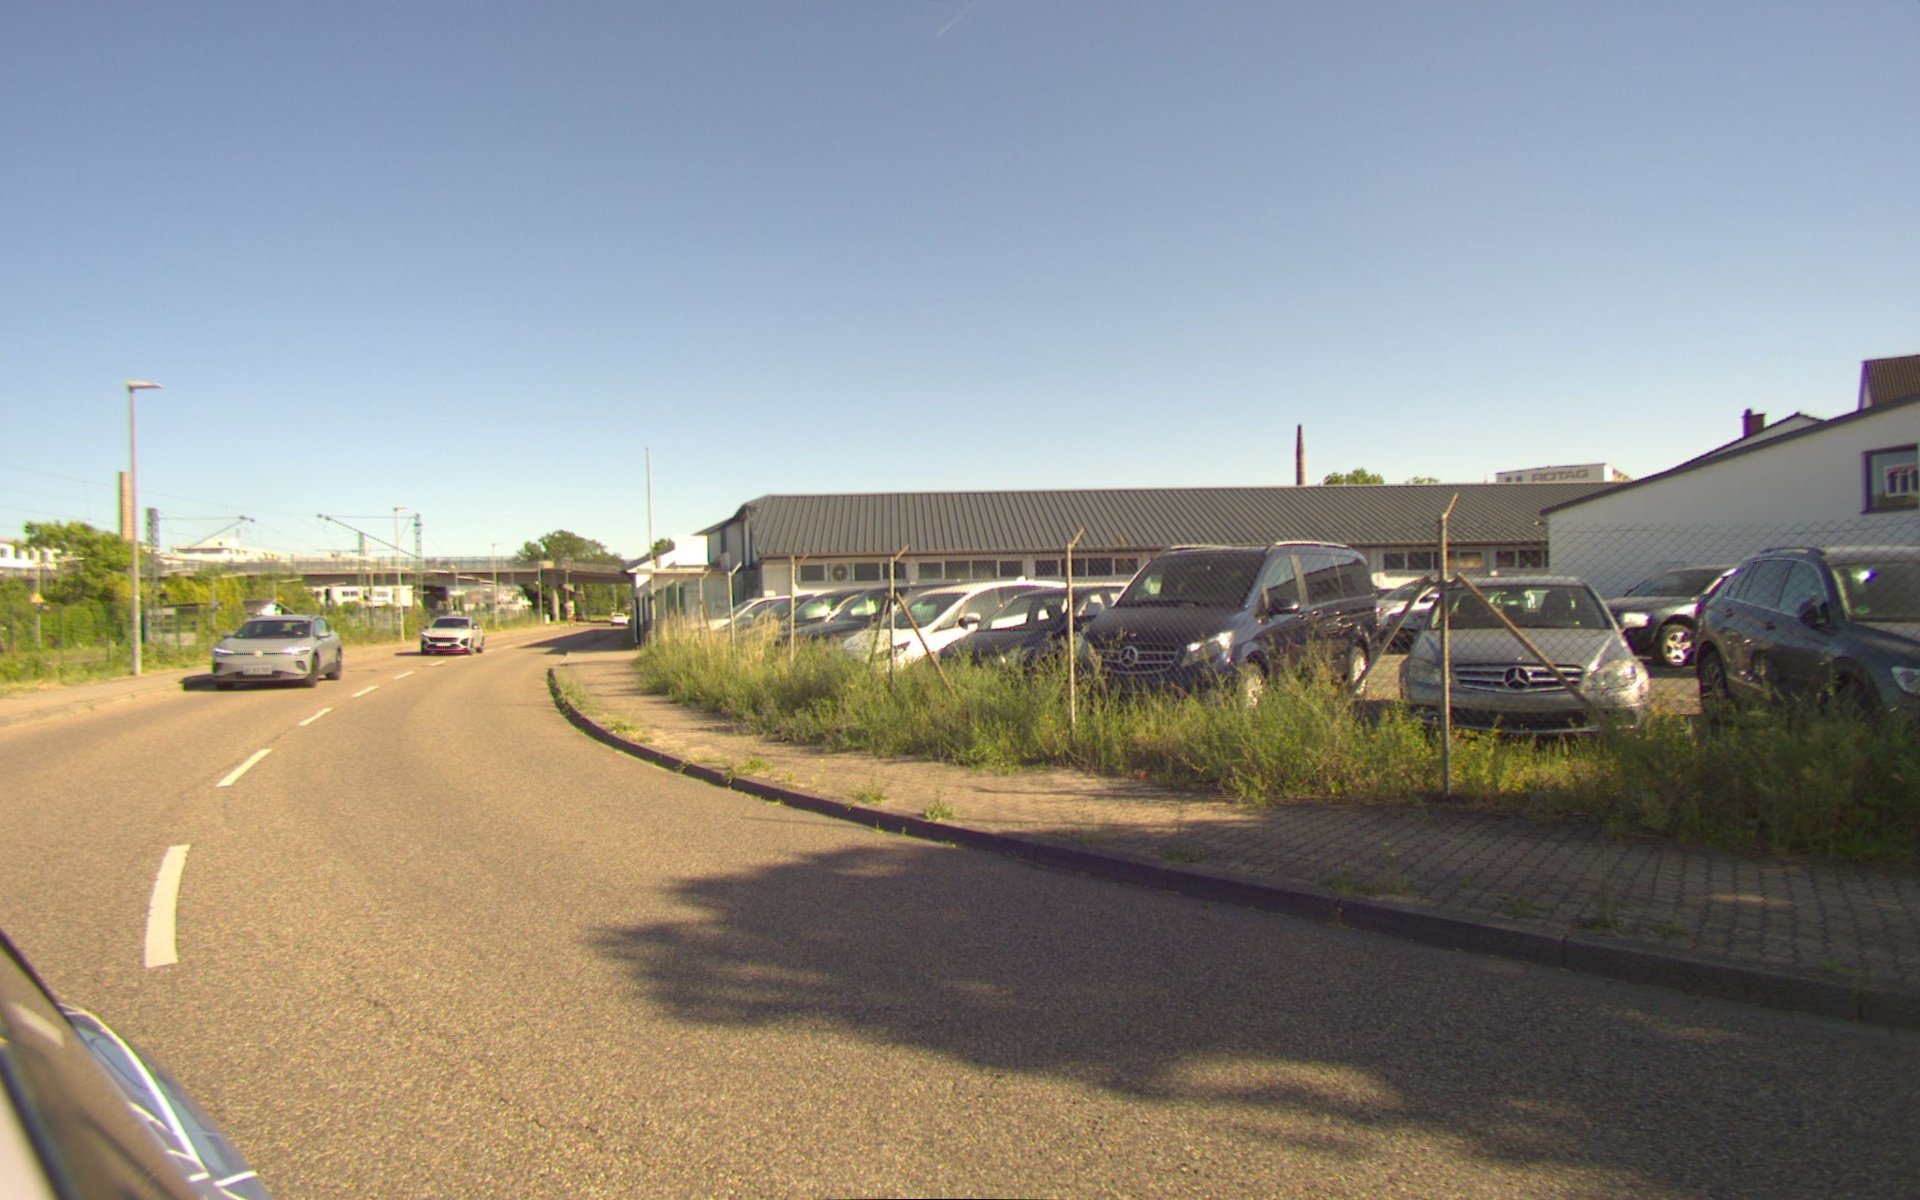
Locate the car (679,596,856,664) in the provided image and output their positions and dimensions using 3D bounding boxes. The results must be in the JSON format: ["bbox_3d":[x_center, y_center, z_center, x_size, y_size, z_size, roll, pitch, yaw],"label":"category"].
[{"bbox_3d":[-5.193,0.777,27.470,4.329,1.661,1.846,-1,-1,-32],"label":"car"}]

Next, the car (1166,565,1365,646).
[{"bbox_3d":[9.858,0.187,32.976,5.680,2.289,2.111,-3,0,-1],"label":"car"}]

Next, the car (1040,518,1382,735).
[{"bbox_3d":[3.031,0.234,11.364,1.838,1.907,4.788,-2,-1,39],"label":"car"}]

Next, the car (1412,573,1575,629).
[{"bbox_3d":[17.504,0.036,33.324,4.339,1.661,1.841,-1,-1,-2],"label":"car"}]

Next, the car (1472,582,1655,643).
[{"bbox_3d":[18.000,0.371,30.320,4.339,1.661,1.841,-1,-1,-2],"label":"car"}]

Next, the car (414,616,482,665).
[{"bbox_3d":[-20.709,1.584,41.090,1.851,1.838,4.308,0,-1,-19],"label":"car"}]

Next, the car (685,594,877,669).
[{"bbox_3d":[-4.447,0.750,25.261,4.328,1.661,1.846,-1,-1,-28],"label":"car"}]

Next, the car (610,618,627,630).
[{"bbox_3d":[-40.430,2.834,119.904,1.783,1.489,4.701,0,-1,-17],"label":"car"}]

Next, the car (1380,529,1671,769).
[{"bbox_3d":[5.197,0.354,9.378,1.833,1.661,4.359,-2,-1,30],"label":"car"}]

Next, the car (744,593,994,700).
[{"bbox_3d":[-1.513,0.748,18.139,1.840,1.661,4.342,-2,-1,42],"label":"car"}]

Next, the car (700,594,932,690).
[{"bbox_3d":[-2.739,0.746,20.011,1.840,1.661,4.342,-2,-1,42],"label":"car"}]

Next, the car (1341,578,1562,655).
[{"bbox_3d":[11.680,0.379,24.262,4.339,1.661,1.841,-1,-1,-2],"label":"car"}]

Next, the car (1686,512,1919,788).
[{"bbox_3d":[7.259,0.282,7.536,1.826,1.661,4.375,-2,-1,20],"label":"car"}]

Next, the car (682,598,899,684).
[{"bbox_3d":[-3.717,0.855,22.372,4.329,1.661,1.846,-1,-1,-31],"label":"car"}]

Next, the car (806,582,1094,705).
[{"bbox_3d":[-0.047,0.580,15.765,4.336,1.661,1.843,-1,-1,-42],"label":"car"}]

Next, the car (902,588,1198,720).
[{"bbox_3d":[1.361,0.596,13.355,1.838,1.447,4.348,-2,-1,37],"label":"car"}]

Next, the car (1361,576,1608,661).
[{"bbox_3d":[11.296,0.394,21.998,4.339,1.661,1.841,-1,-1,-2],"label":"car"}]

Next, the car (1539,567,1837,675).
[{"bbox_3d":[12.629,0.326,17.615,4.329,1.661,1.845,-1,-1,-15],"label":"car"}]

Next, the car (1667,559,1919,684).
[{"bbox_3d":[13.001,0.262,15.250,4.327,1.661,1.846,-1,-1,-24],"label":"car"}]

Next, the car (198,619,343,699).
[{"bbox_3d":[-15.714,1.279,23.304,1.819,1.643,4.309,1,-1,-22],"label":"car"}]
